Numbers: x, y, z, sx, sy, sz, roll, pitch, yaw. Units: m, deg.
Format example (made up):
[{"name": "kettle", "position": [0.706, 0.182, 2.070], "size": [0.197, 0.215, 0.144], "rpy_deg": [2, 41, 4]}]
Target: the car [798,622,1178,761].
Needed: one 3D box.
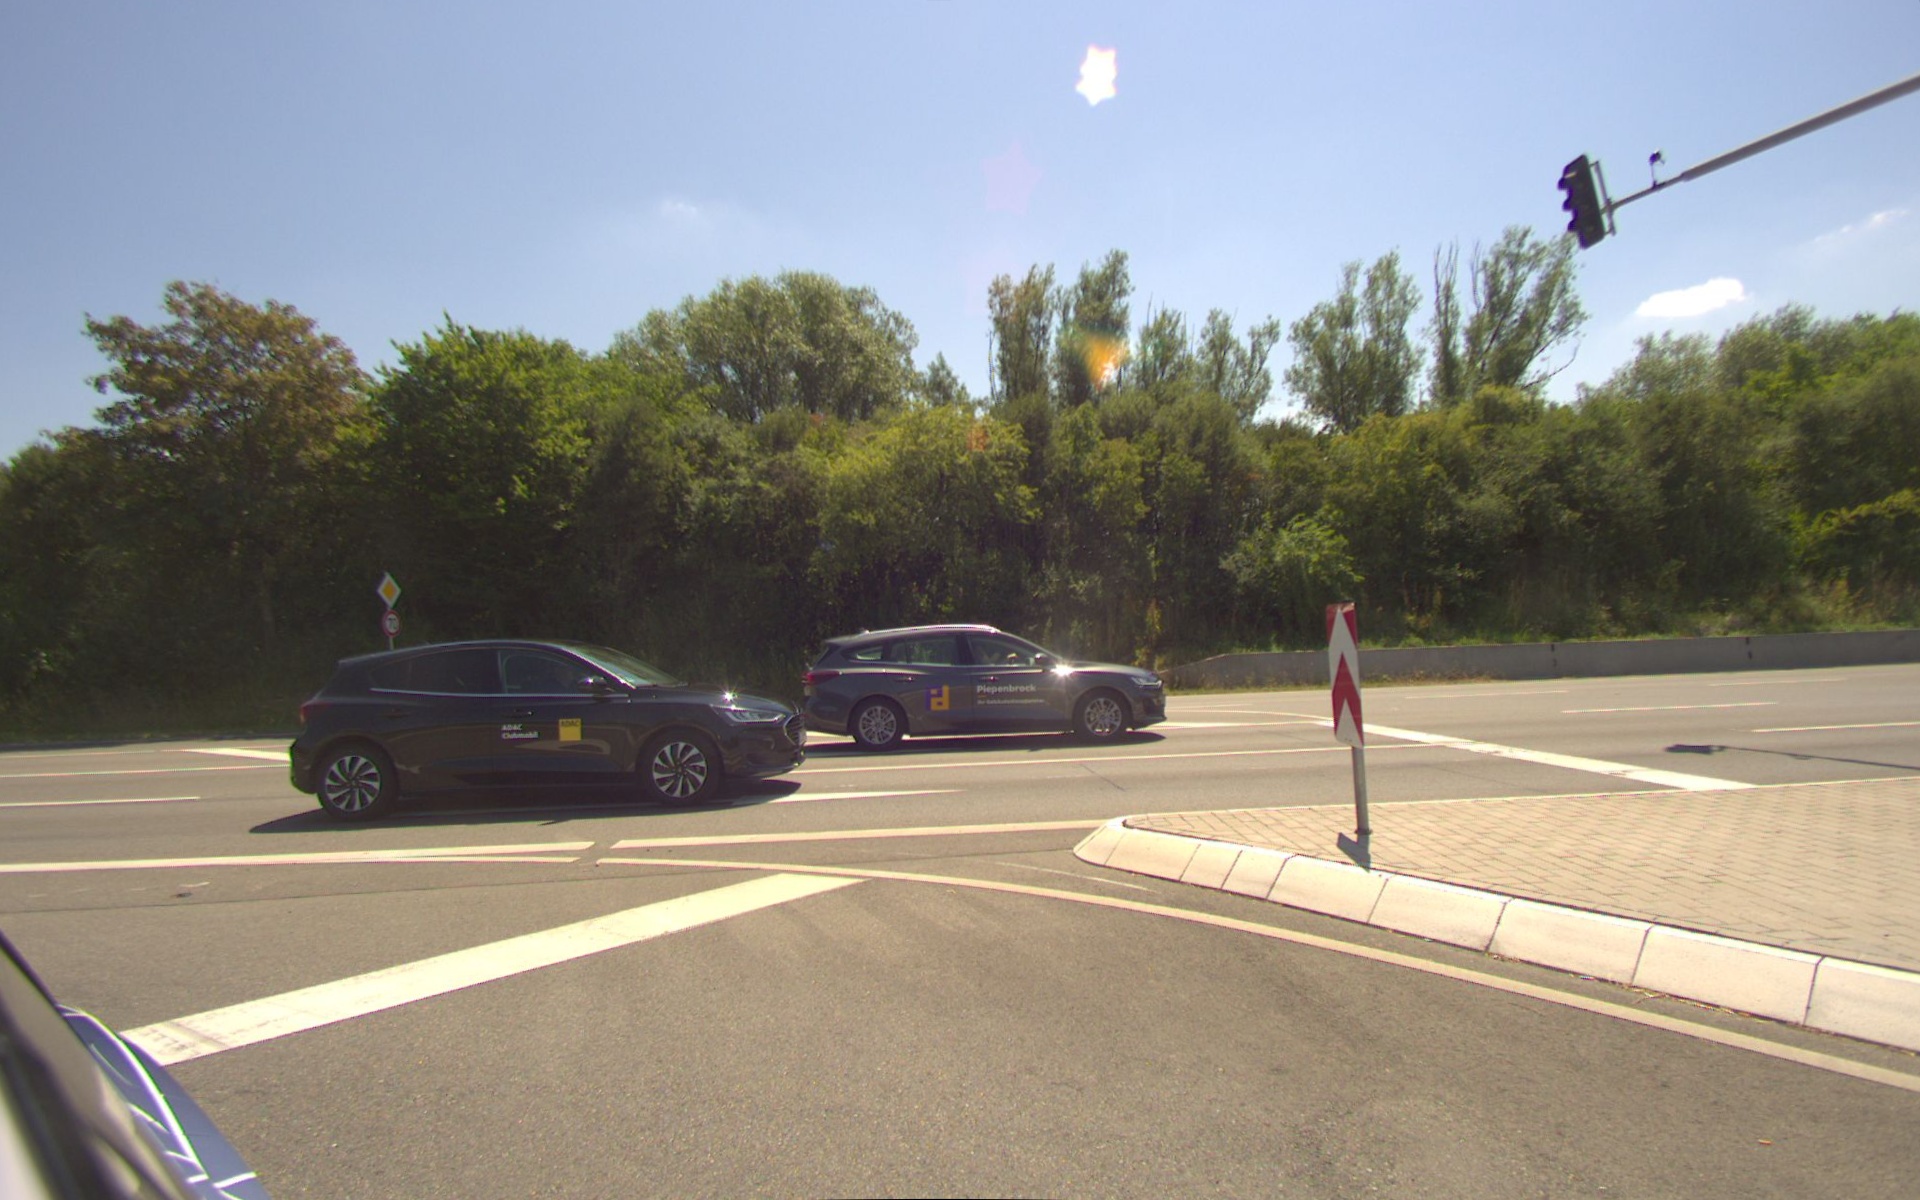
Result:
[{"name": "car", "position": [0.322, 1.096, 12.528], "size": [4.333, 1.453, 1.738], "rpy_deg": [-2, -3, 2]}]

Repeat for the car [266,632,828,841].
[{"name": "car", "position": [-3.428, 1.126, 8.935], "size": [4.239, 1.453, 1.739], "rpy_deg": [-3, -3, 1]}]
